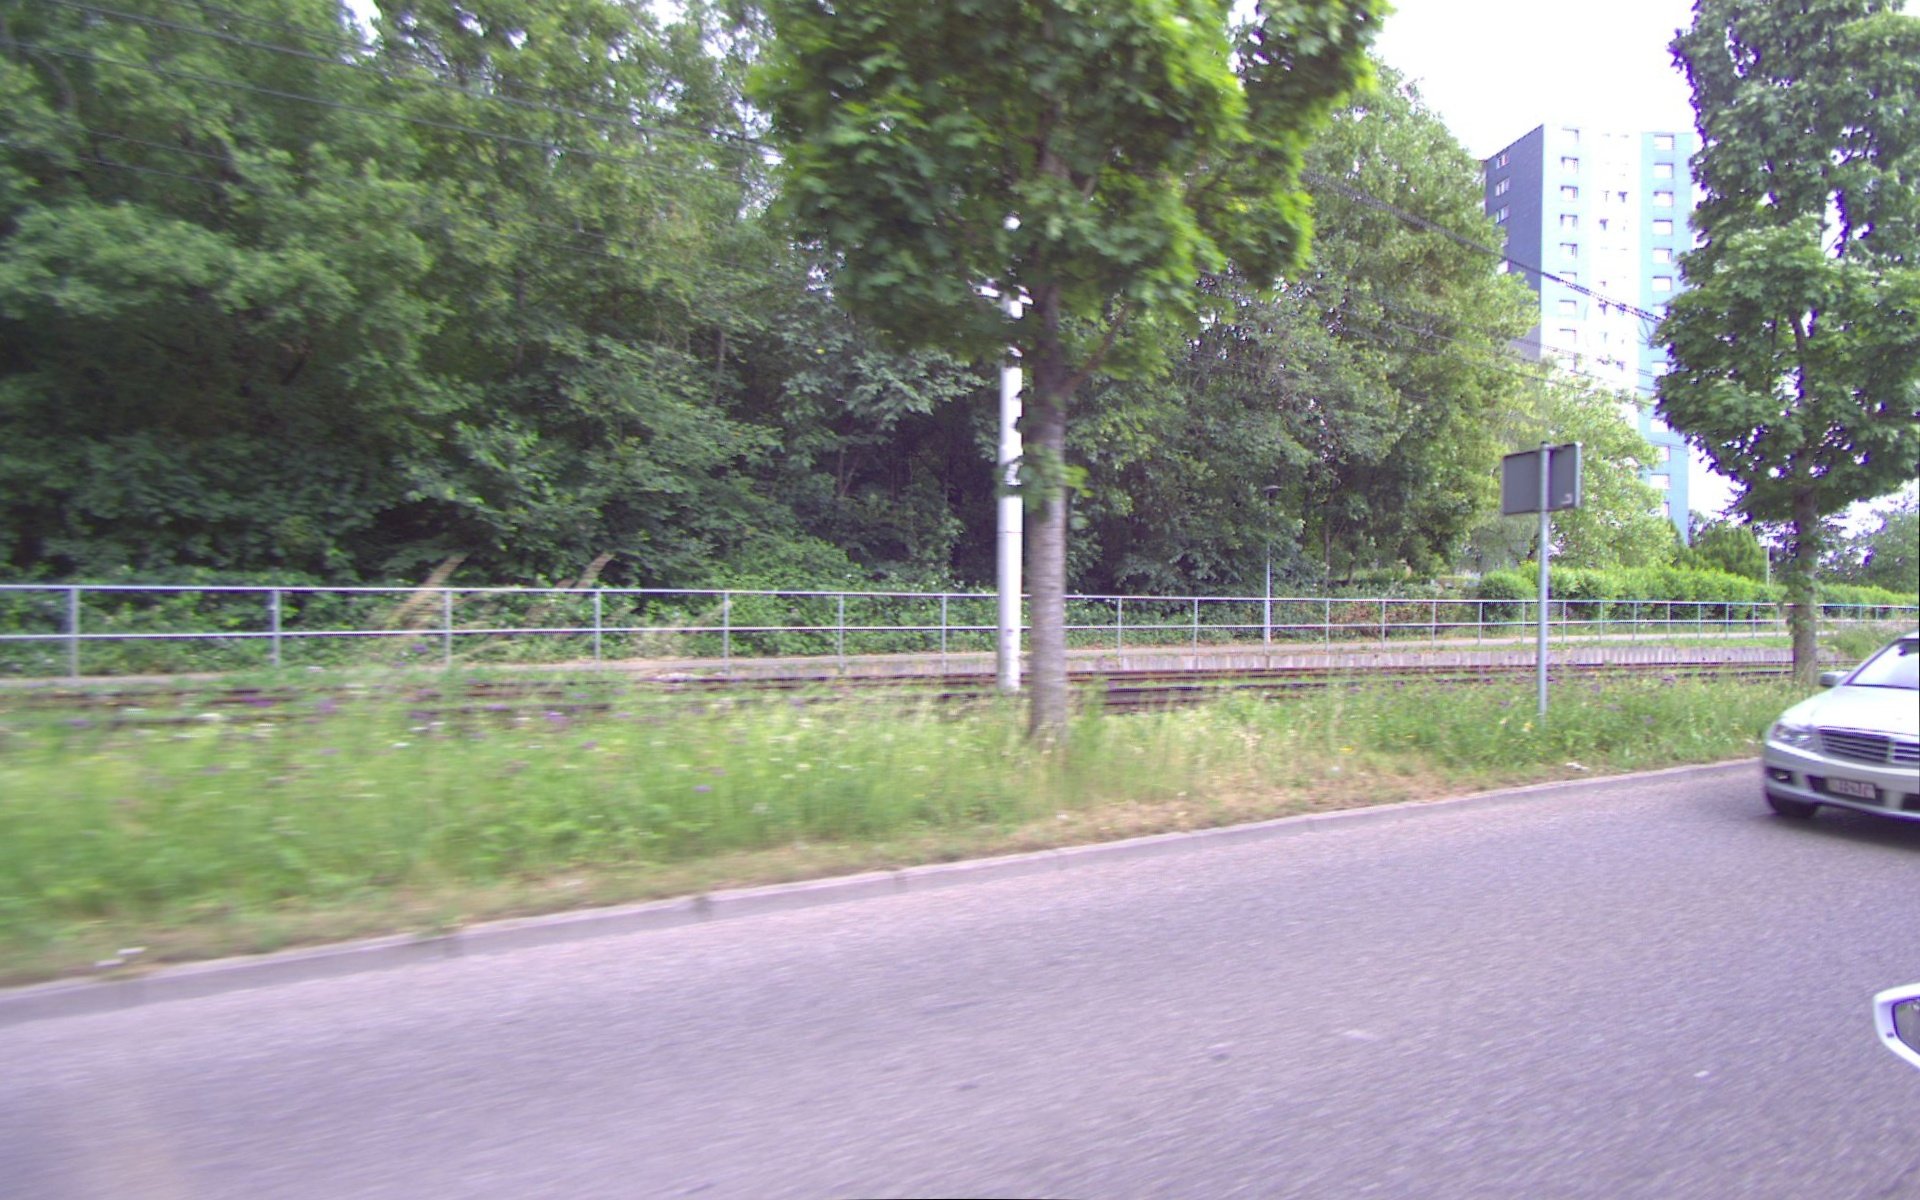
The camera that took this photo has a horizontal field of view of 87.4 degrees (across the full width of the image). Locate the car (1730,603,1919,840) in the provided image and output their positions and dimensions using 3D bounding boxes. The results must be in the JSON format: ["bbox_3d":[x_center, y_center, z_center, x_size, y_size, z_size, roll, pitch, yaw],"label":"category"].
[{"bbox_3d":[7.852,0.805,7.573,4.191,1.488,1.766,1,1,-30],"label":"car"}]
